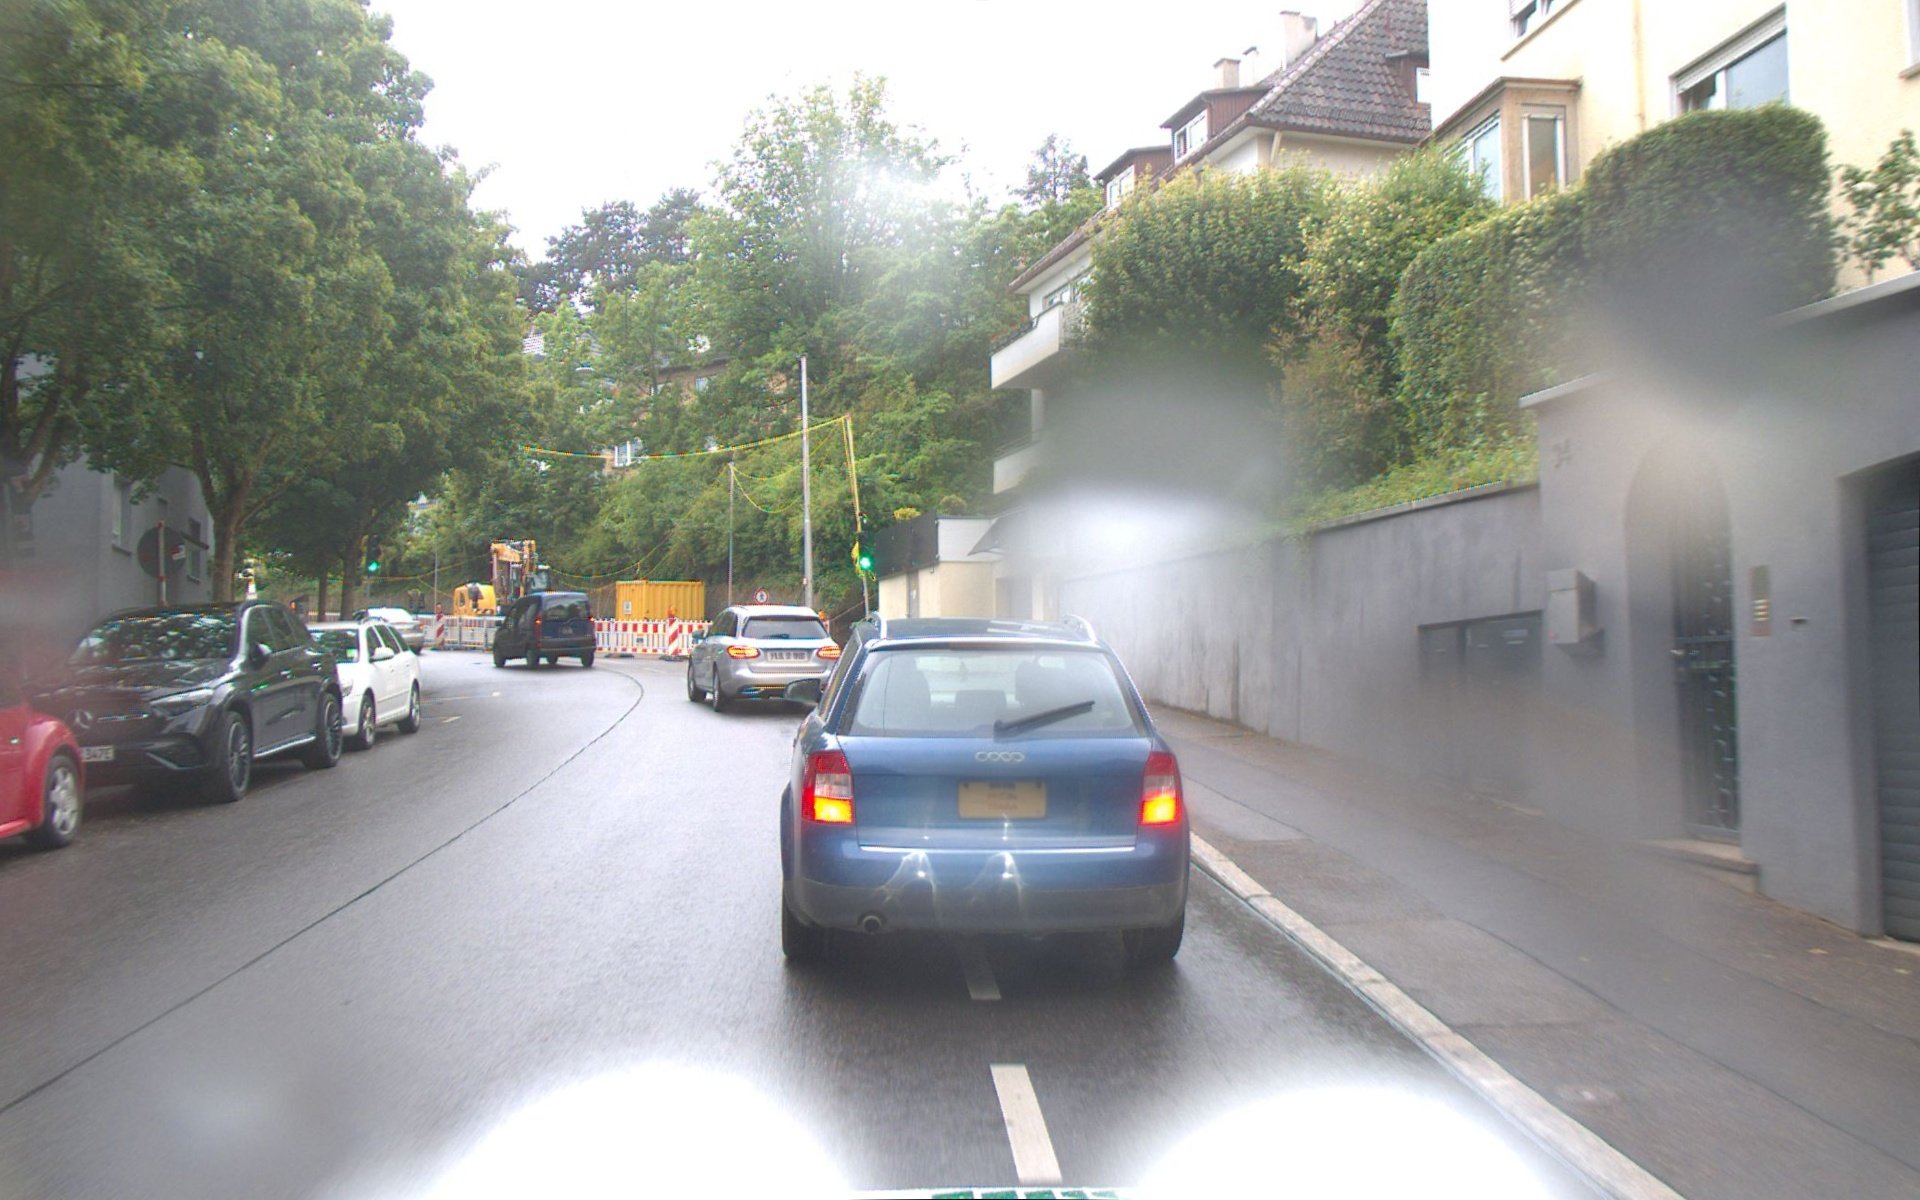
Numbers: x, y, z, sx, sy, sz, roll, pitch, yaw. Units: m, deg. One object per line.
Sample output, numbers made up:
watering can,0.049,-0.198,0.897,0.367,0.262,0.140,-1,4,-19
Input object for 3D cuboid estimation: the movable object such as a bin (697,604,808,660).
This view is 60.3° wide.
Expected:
movable object such as a bin,-6.170,0.902,48.738,1.971,1.546,3.963,0,0,-28

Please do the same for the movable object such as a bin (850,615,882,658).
movable object such as a bin,-2.360,0.902,41.454,0.706,1.050,0.590,-1,0,-11

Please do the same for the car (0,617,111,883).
car,-6.543,0.944,9.660,1.603,1.592,3.840,-4,-1,-9

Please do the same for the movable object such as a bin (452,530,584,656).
movable object such as a bin,-15.473,-0.252,57.529,2.788,4.084,7.257,-1,0,-29

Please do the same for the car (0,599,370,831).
car,-6.744,0.866,14.843,1.650,1.636,4.570,-3,1,-7

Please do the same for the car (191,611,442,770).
car,-7.565,0.980,19.883,1.650,1.534,4.310,-4,1,-6

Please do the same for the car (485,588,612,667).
car,-10.445,0.697,41.798,1.974,1.825,3.956,-2,0,-32

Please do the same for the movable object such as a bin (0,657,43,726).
movable object such as a bin,-14.044,1.345,24.401,0.642,0.967,0.644,-1,0,3

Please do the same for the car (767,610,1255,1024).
car,0.141,0.803,8.003,1.750,1.467,3.962,1,0,-2

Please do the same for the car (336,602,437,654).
car,-18.269,0.899,52.595,1.710,1.512,4.018,-2,0,-39

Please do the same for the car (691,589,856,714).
car,-2.839,0.679,24.331,1.893,1.646,4.305,-1,0,-14
